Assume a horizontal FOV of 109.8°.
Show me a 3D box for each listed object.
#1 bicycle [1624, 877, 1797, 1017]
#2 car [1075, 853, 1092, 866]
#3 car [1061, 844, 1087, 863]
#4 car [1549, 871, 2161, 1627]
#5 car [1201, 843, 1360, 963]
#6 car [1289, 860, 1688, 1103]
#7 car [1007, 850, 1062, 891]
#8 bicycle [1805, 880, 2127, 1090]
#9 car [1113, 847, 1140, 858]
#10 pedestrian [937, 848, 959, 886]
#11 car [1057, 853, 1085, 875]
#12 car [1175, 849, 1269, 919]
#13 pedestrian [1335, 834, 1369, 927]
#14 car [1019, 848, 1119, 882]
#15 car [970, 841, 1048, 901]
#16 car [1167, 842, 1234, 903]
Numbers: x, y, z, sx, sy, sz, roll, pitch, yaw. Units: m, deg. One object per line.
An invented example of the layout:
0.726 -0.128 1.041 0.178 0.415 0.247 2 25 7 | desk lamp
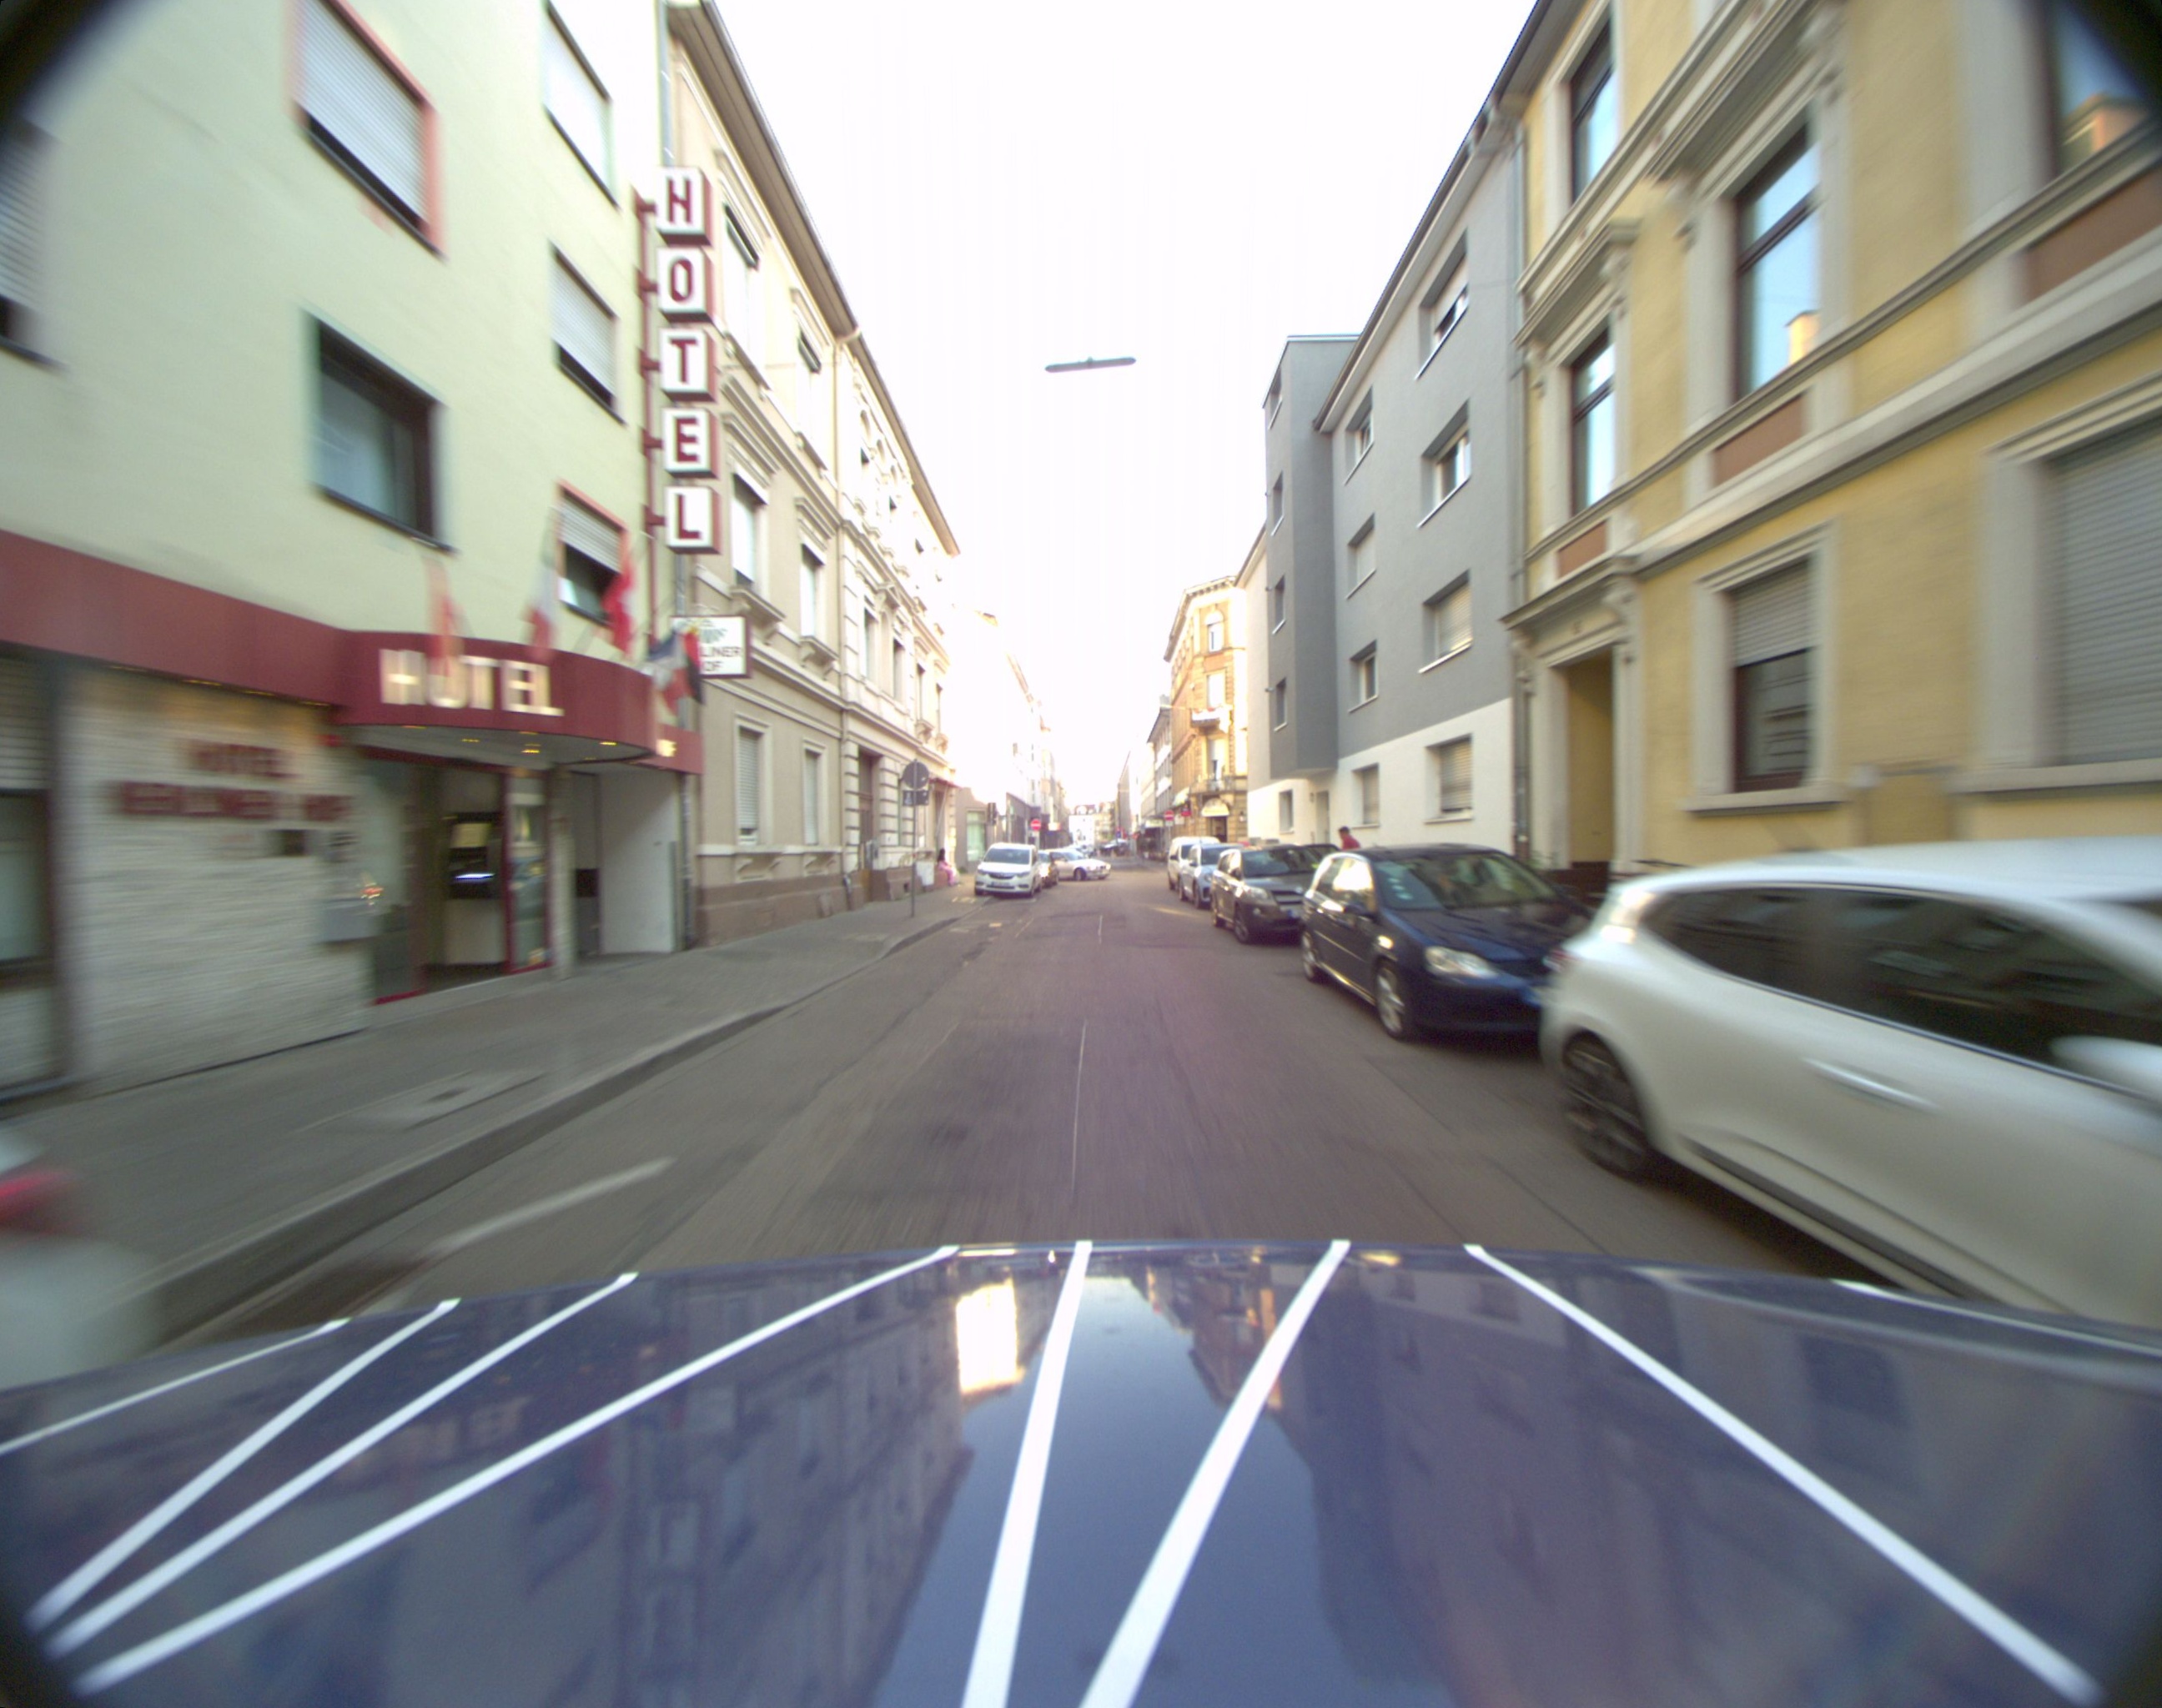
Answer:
5.787 0.799 7.086 0.382 1.108 1.544 -1 1 3 | bicycle
0.300 0.569 86.204 1.729 1.391 3.893 -1 0 3 | car
-0.492 -0.044 57.645 1.729 1.391 3.893 -1 0 3 | car
3.060 0.851 1.786 1.642 1.480 3.789 -1 0 1 | car
3.198 0.702 12.916 1.642 1.701 3.783 -1 0 -1 | car
3.134 0.840 6.830 1.642 1.480 3.954 -1 0 3 | car
-1.778 0.592 30.084 1.729 1.469 3.976 -2 0 3 | car
5.683 0.764 5.020 0.382 1.108 1.544 -1 1 3 | bicycle
6.753 -0.283 112.989 3.881 1.568 1.734 -1 1 44 | car
-5.061 0.497 28.935 0.696 1.415 0.483 -1 1 3 | pedestrian
-0.669 0.655 52.912 1.729 1.391 3.893 -1 0 3 | car
3.502 0.679 19.435 1.642 1.571 3.783 -1 0 -1 | car
5.214 0.504 14.635 0.456 1.745 0.455 -1 1 0 | pedestrian
-0.604 0.500 34.613 4.459 1.395 1.686 -2 1 39 | car
-2.248 0.492 24.922 1.841 1.685 4.359 4 1 3 | car
3.789 0.533 24.613 1.642 1.786 3.783 -1 0 2 | car
